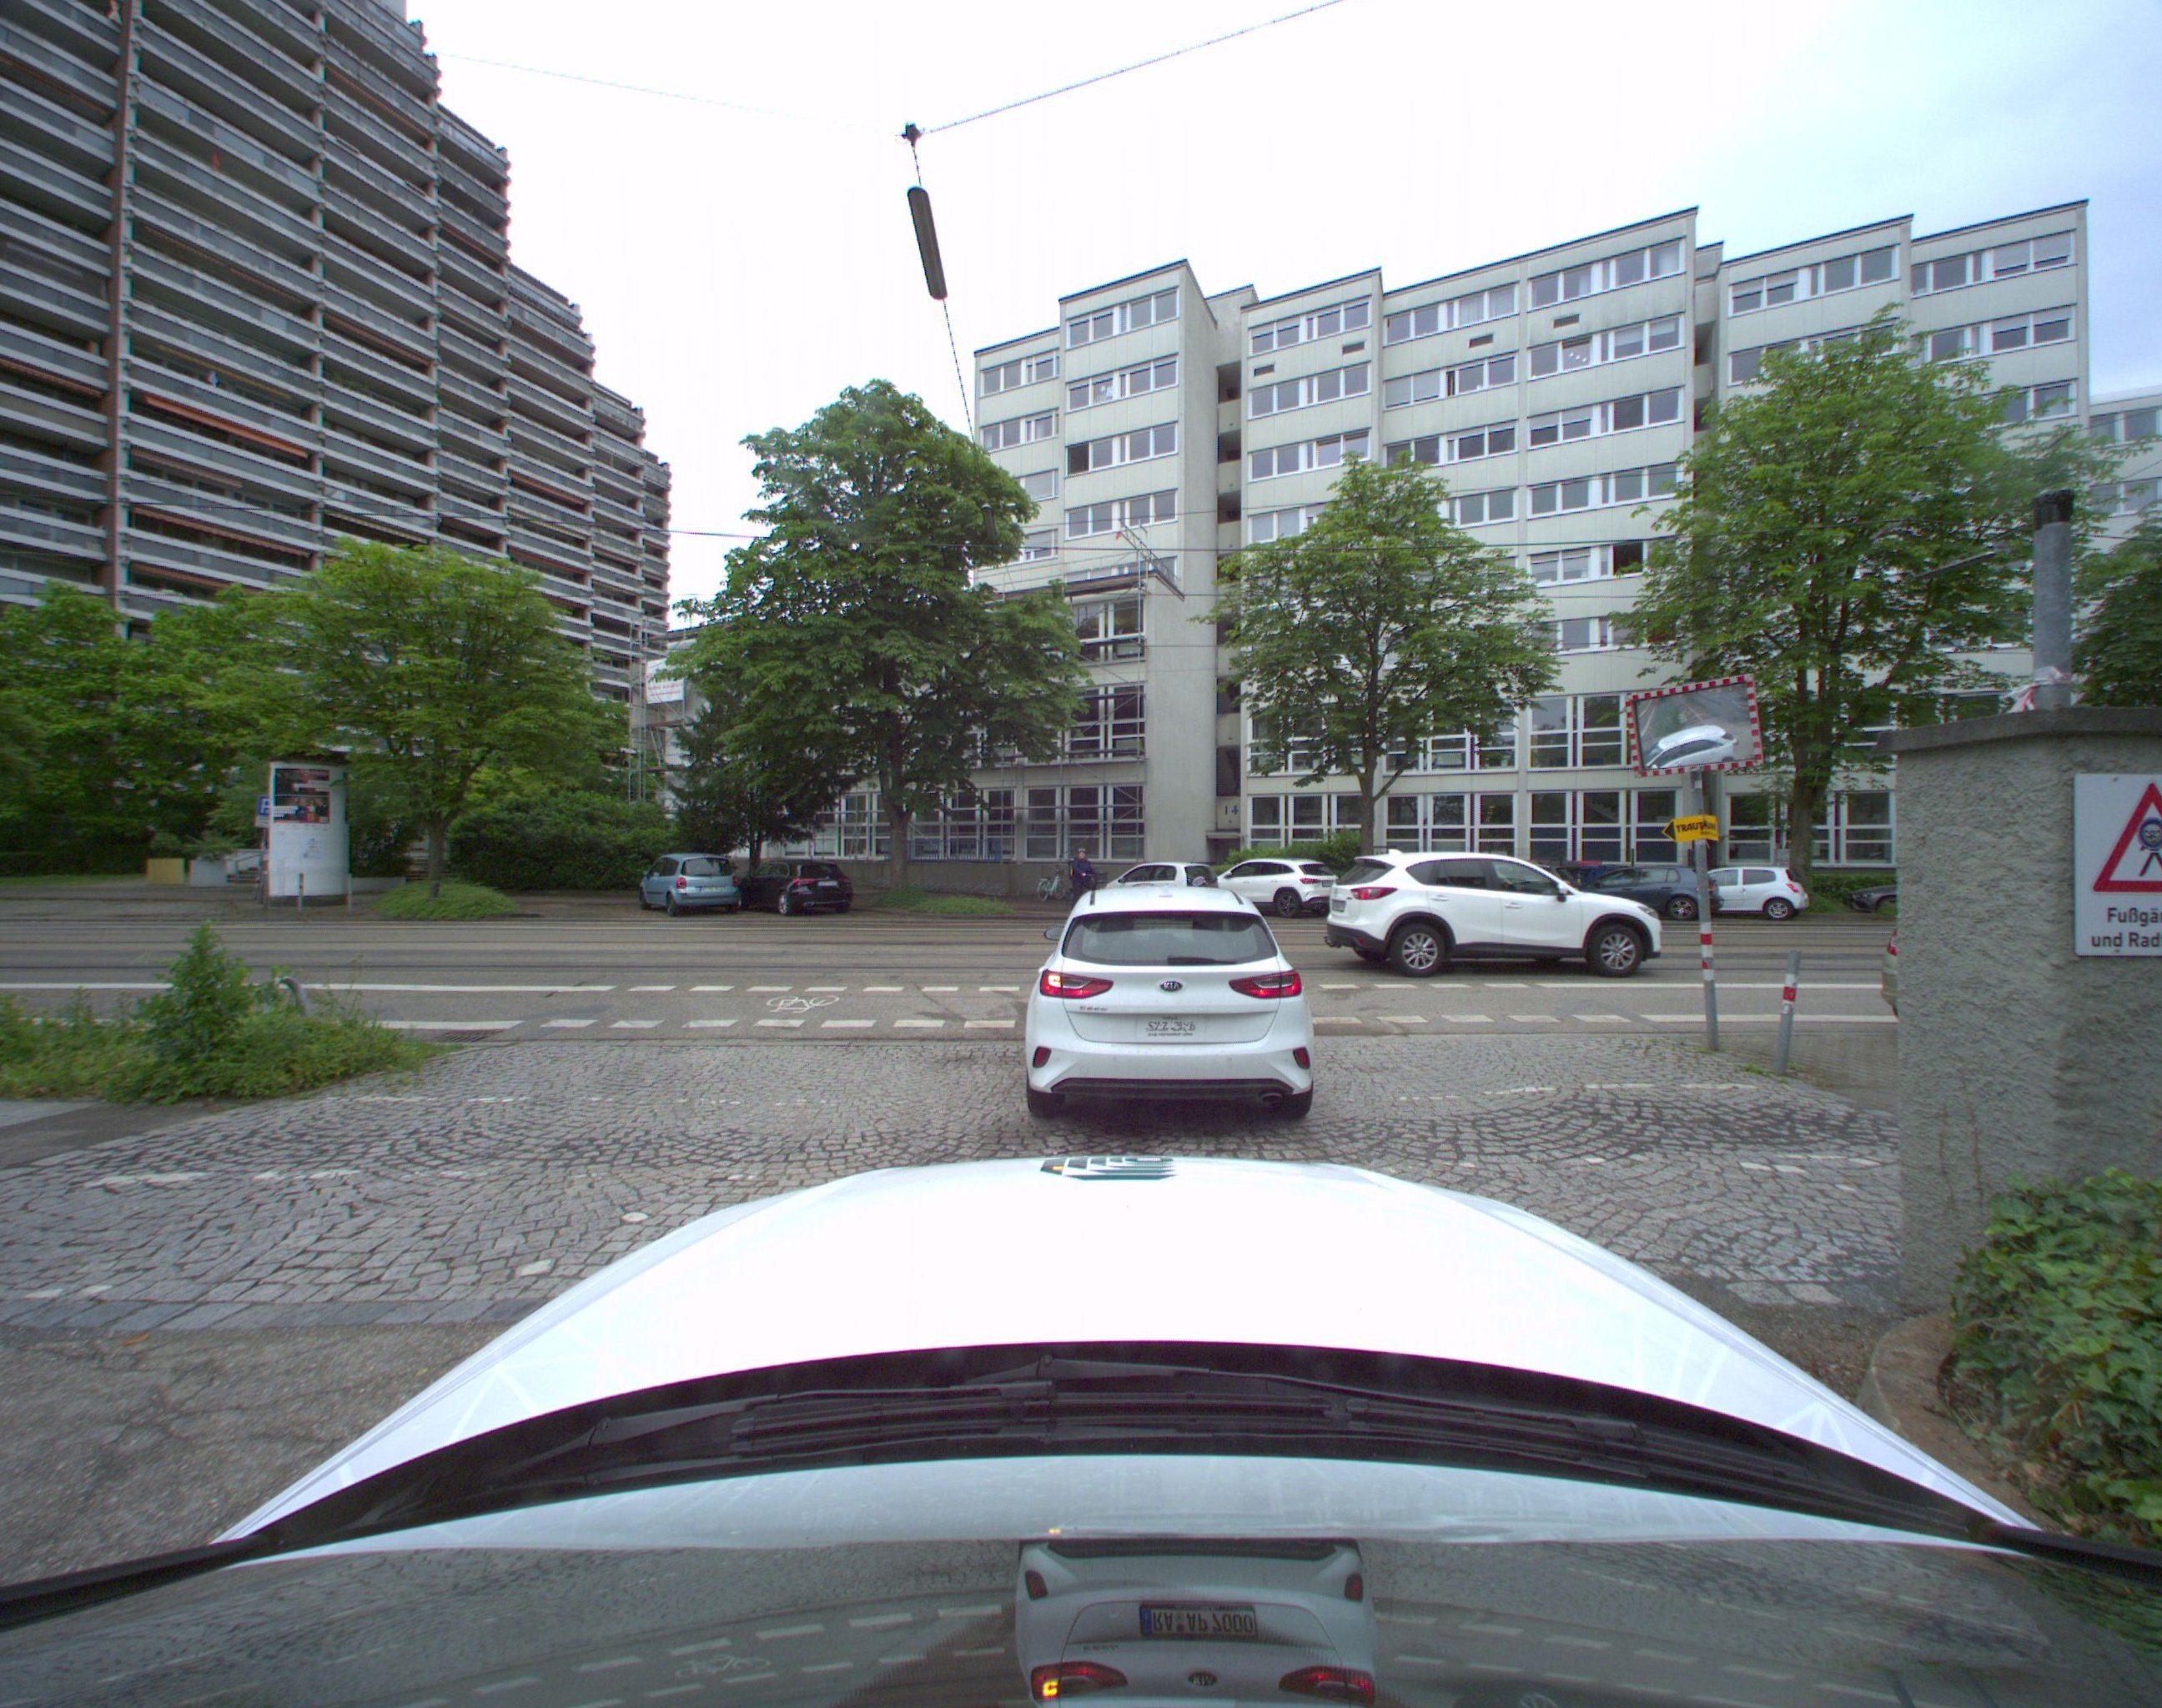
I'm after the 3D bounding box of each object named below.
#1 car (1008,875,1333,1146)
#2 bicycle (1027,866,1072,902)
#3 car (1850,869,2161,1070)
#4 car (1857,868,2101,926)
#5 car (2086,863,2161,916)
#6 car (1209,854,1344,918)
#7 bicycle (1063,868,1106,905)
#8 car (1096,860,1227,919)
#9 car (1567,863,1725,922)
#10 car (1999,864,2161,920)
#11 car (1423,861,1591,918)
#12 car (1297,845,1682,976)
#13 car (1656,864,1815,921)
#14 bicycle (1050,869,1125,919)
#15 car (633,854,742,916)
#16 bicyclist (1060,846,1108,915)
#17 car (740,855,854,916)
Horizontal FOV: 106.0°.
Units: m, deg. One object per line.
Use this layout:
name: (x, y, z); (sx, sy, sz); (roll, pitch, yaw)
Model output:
car: (0.655, 0.914, 6.481); (1.767, 1.433, 3.984); (-1, -1, 5)
bicycle: (-1.083, 1.035, 28.605); (0.638, 1.074, 2.325); (0, 3, 22)
car: (9.193, 0.899, 7.028); (3.570, 1.501, 1.665); (0, 0, 0)
car: (24.991, 1.166, 22.936); (4.441, 1.474, 1.425); (-1, -4, 42)
car: (31.493, 1.008, 23.264); (1.425, 1.474, 3.348); (0, -1, -44)
car: (5.370, 0.839, 22.638); (1.565, 1.618, 3.367); (0, -1, -42)
bicycle: (0.143, 1.083, 28.085); (0.638, 1.074, 2.325); (0, 3, 22)
car: (2.144, 0.913, 22.253); (1.565, 1.473, 3.367); (0, -1, -42)
car: (15.472, 1.002, 22.394); (1.425, 1.474, 3.348); (0, -1, -44)
car: (28.526, 1.028, 22.999); (1.425, 1.474, 3.348); (0, 0, -44)
car: (11.977, 0.946, 23.014); (3.904, 1.474, 1.684); (-1, -1, 42)
car: (5.650, 0.746, 11.737); (4.570, 1.703, 2.000); (0, 0, 0)
car: (18.477, 1.033, 23.068); (1.425, 1.474, 3.348); (0, -1, -44)
bicycle: (0.139, 0.981, 20.734); (0.826, 1.174, 1.892); (1, -1, -44)
car: (-10.578, 0.776, 21.804); (1.628, 1.537, 3.296); (0, 0, -45)
bicyclist: (0.084, 0.660, 20.767); (0.839, 1.698, 0.886); (1, -1, -43)
car: (-7.645, 0.799, 21.807); (1.628, 1.511, 3.295); (0, -1, -45)
